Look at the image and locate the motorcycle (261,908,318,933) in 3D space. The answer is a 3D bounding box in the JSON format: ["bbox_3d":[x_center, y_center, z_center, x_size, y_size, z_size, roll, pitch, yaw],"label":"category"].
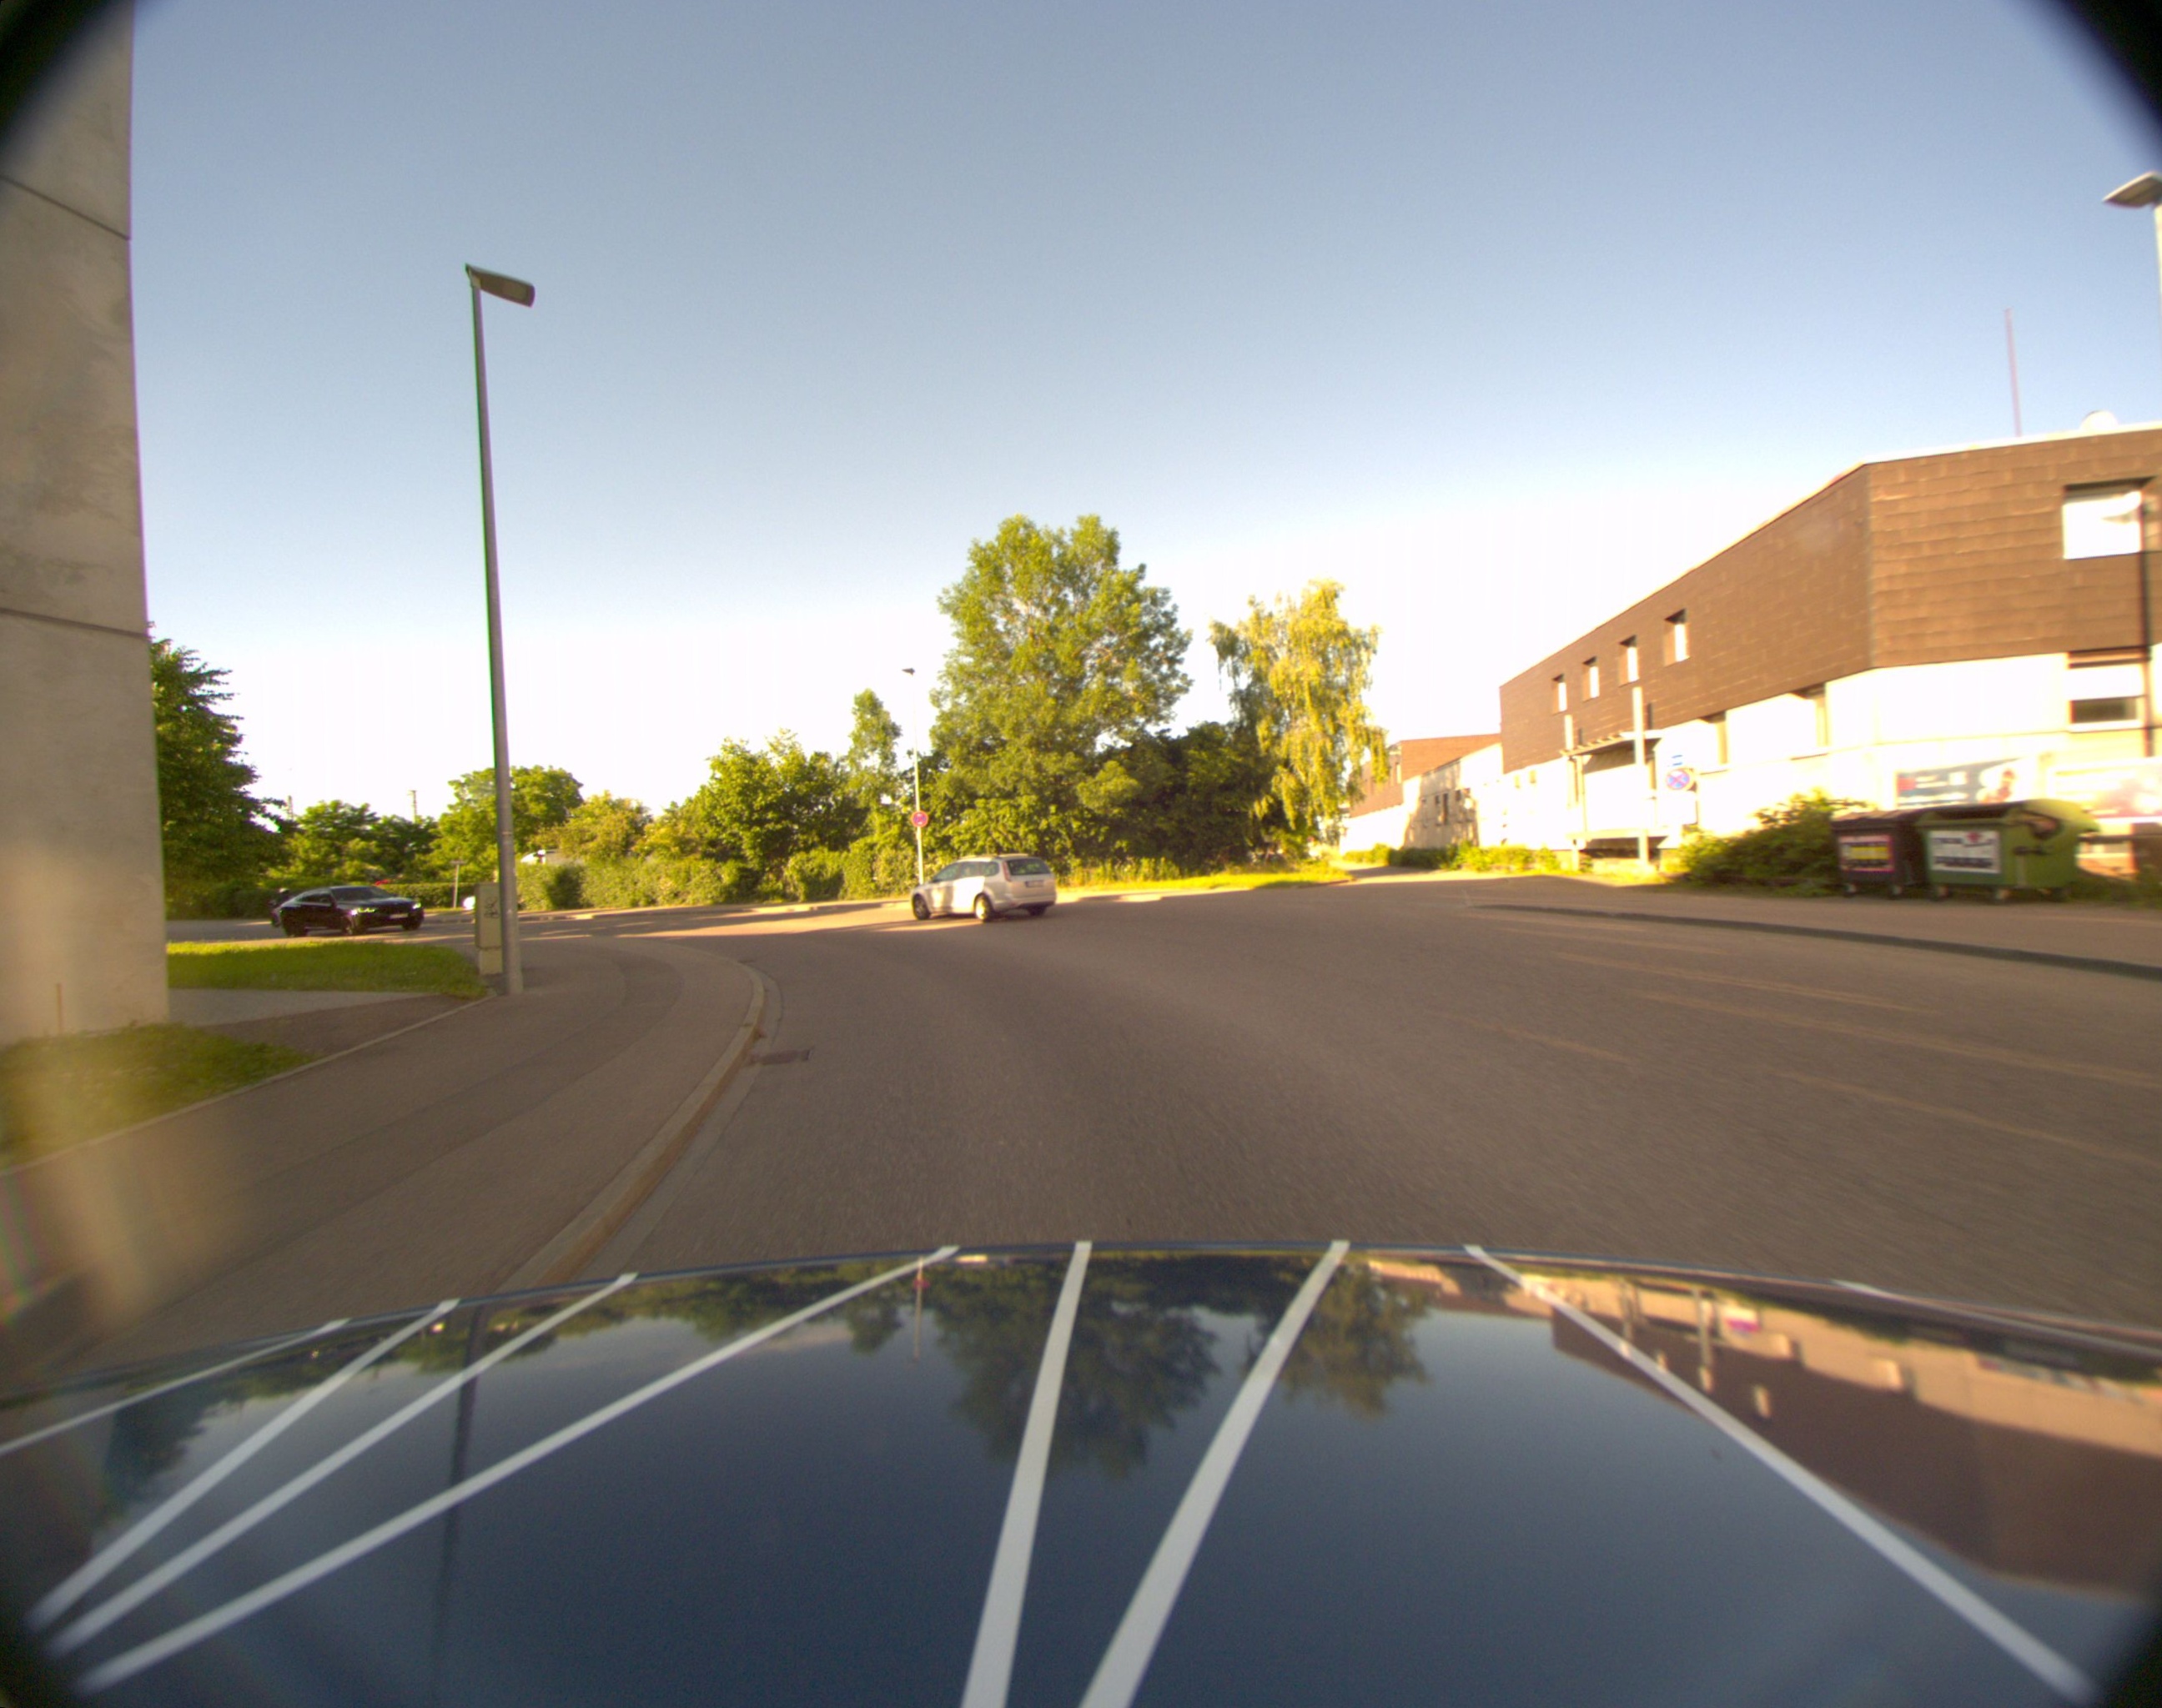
[{"bbox_3d":[-35.445,2.973,34.015,2.295,0.966,0.836,-3,1,19],"label":"motorcycle"}]

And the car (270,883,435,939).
[{"bbox_3d":[-25.304,1.963,26.420,4.604,1.623,2.040,-3,1,16],"label":"car"}]

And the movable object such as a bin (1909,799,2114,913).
[{"bbox_3d":[13.130,0.023,10.808,1.201,1.463,1.373,-3,0,7],"label":"movable object such as a bin"}]

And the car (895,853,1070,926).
[{"bbox_3d":[-2.530,0.856,18.687,4.490,1.496,1.747,-3,2,44],"label":"car"}]

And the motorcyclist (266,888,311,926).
[{"bbox_3d":[-35.451,2.374,33.995,1.240,1.602,0.868,-3,1,19],"label":"motorcyclist"}]

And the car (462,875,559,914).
[{"bbox_3d":[-30.947,2.133,41.275,4.007,1.772,1.995,-4,1,-40],"label":"car"}]

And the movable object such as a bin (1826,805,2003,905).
[{"bbox_3d":[13.284,0.013,12.185,1.363,1.463,1.290,-3,1,7],"label":"movable object such as a bin"}]
